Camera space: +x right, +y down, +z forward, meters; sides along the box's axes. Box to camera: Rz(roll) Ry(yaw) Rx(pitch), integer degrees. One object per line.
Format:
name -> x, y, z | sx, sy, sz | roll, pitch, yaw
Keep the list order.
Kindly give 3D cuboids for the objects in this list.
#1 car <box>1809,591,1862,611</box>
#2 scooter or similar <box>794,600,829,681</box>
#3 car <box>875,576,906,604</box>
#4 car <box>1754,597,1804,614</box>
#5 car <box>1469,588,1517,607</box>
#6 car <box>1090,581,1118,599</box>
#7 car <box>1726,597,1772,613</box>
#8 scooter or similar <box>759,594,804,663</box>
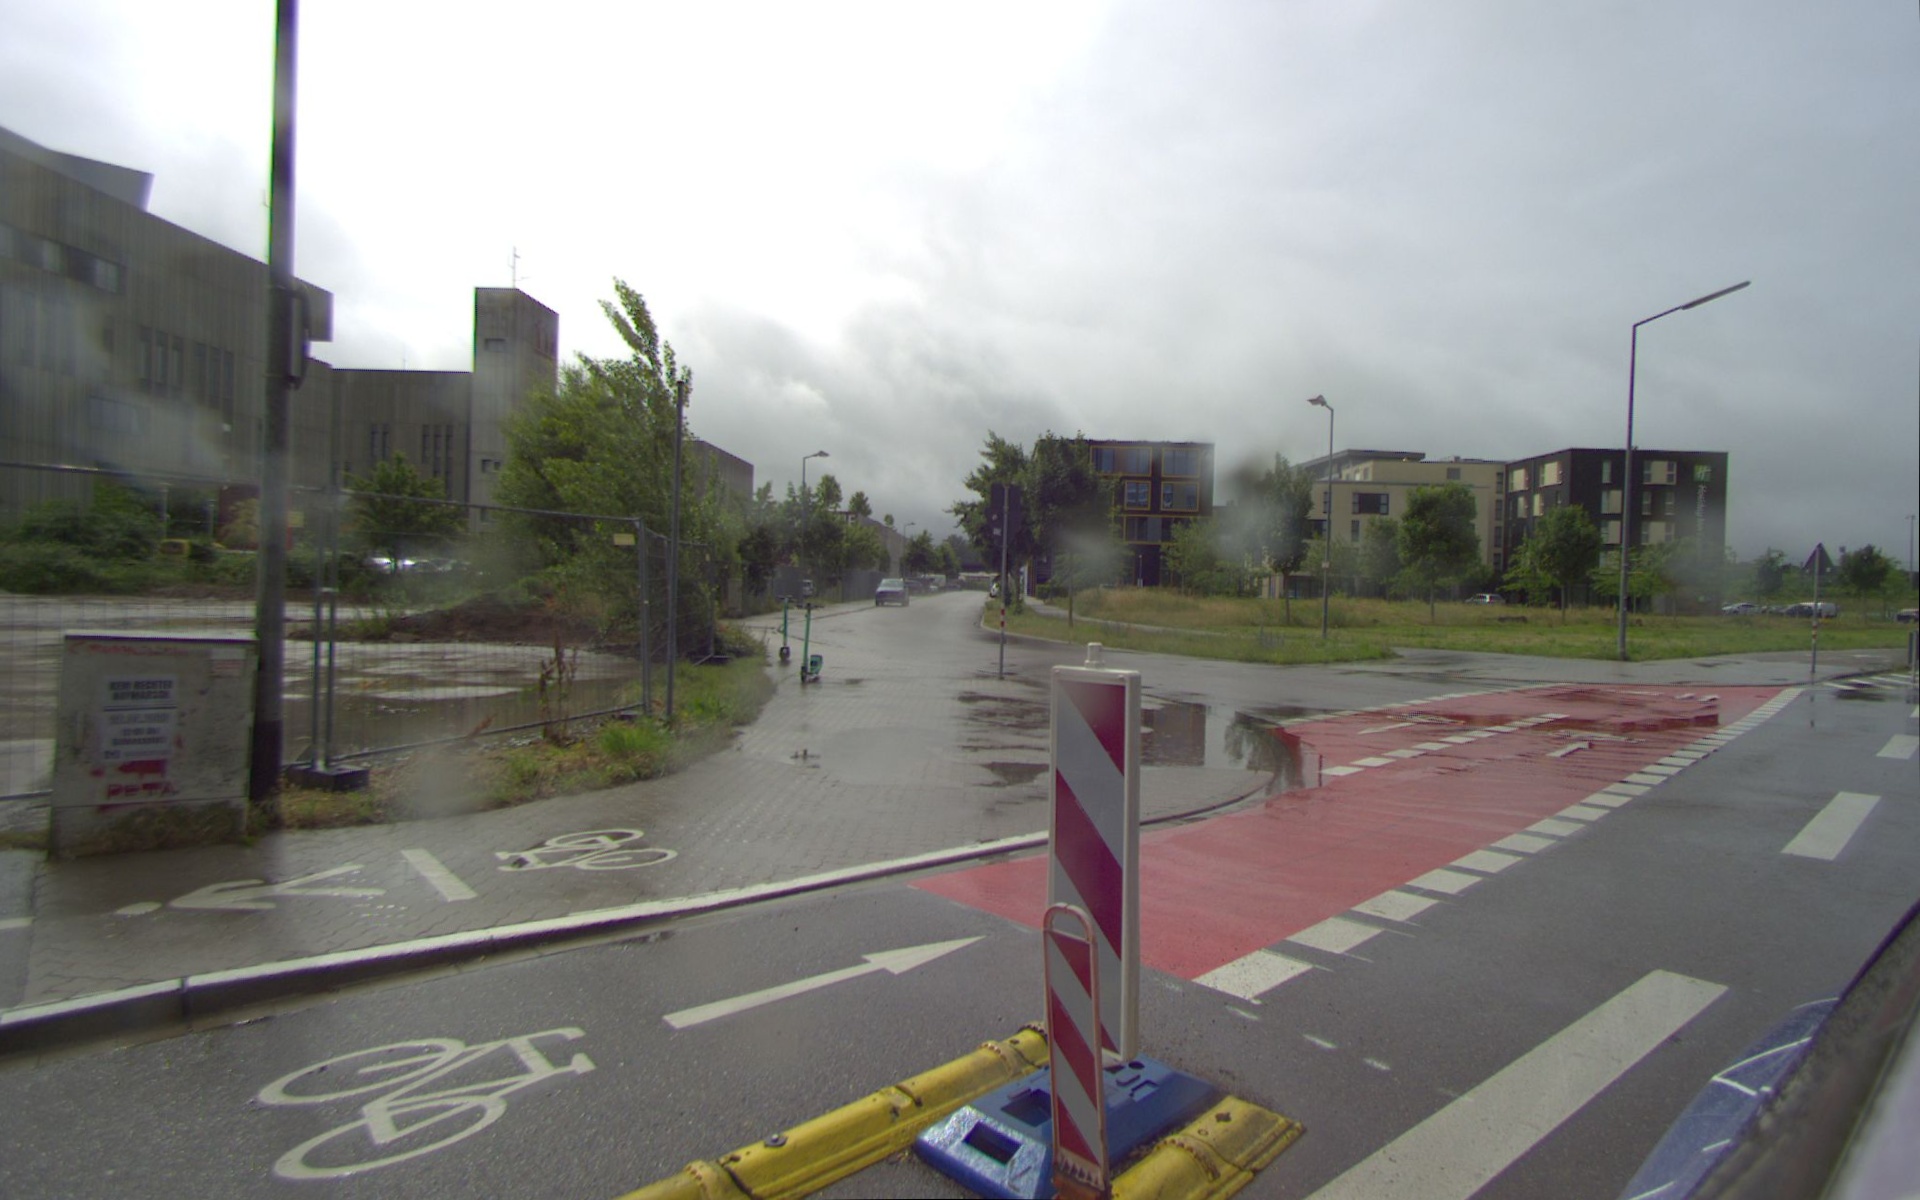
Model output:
car -> 96.702, 0.122, 111.815 | 3.930, 2.039, 1.997 | 1, 1, 6
scooter or similar -> -2.278, 0.599, 15.581 | 0.473, 1.164, 1.196 | 1, 1, -7
car -> -4.194, -0.601, 61.538 | 1.570, 1.631, 3.599 | 1, 1, 1
car -> 83.853, 0.544, 103.630 | 3.595, 1.682, 1.643 | 1, 1, 13
car -> 47.424, -0.236, 90.014 | 3.591, 1.603, 1.652 | 1, 1, -17
car -> 13.087, -0.951, 92.165 | 1.615, 1.602, 3.673 | 1, 1, -6
car -> 86.163, 0.524, 110.538 | 3.590, 1.631, 1.596 | 1, 1, 10
scooter or similar -> -3.215, 0.501, 18.292 | 0.731, 1.164, 1.197 | 1, 1, -8
